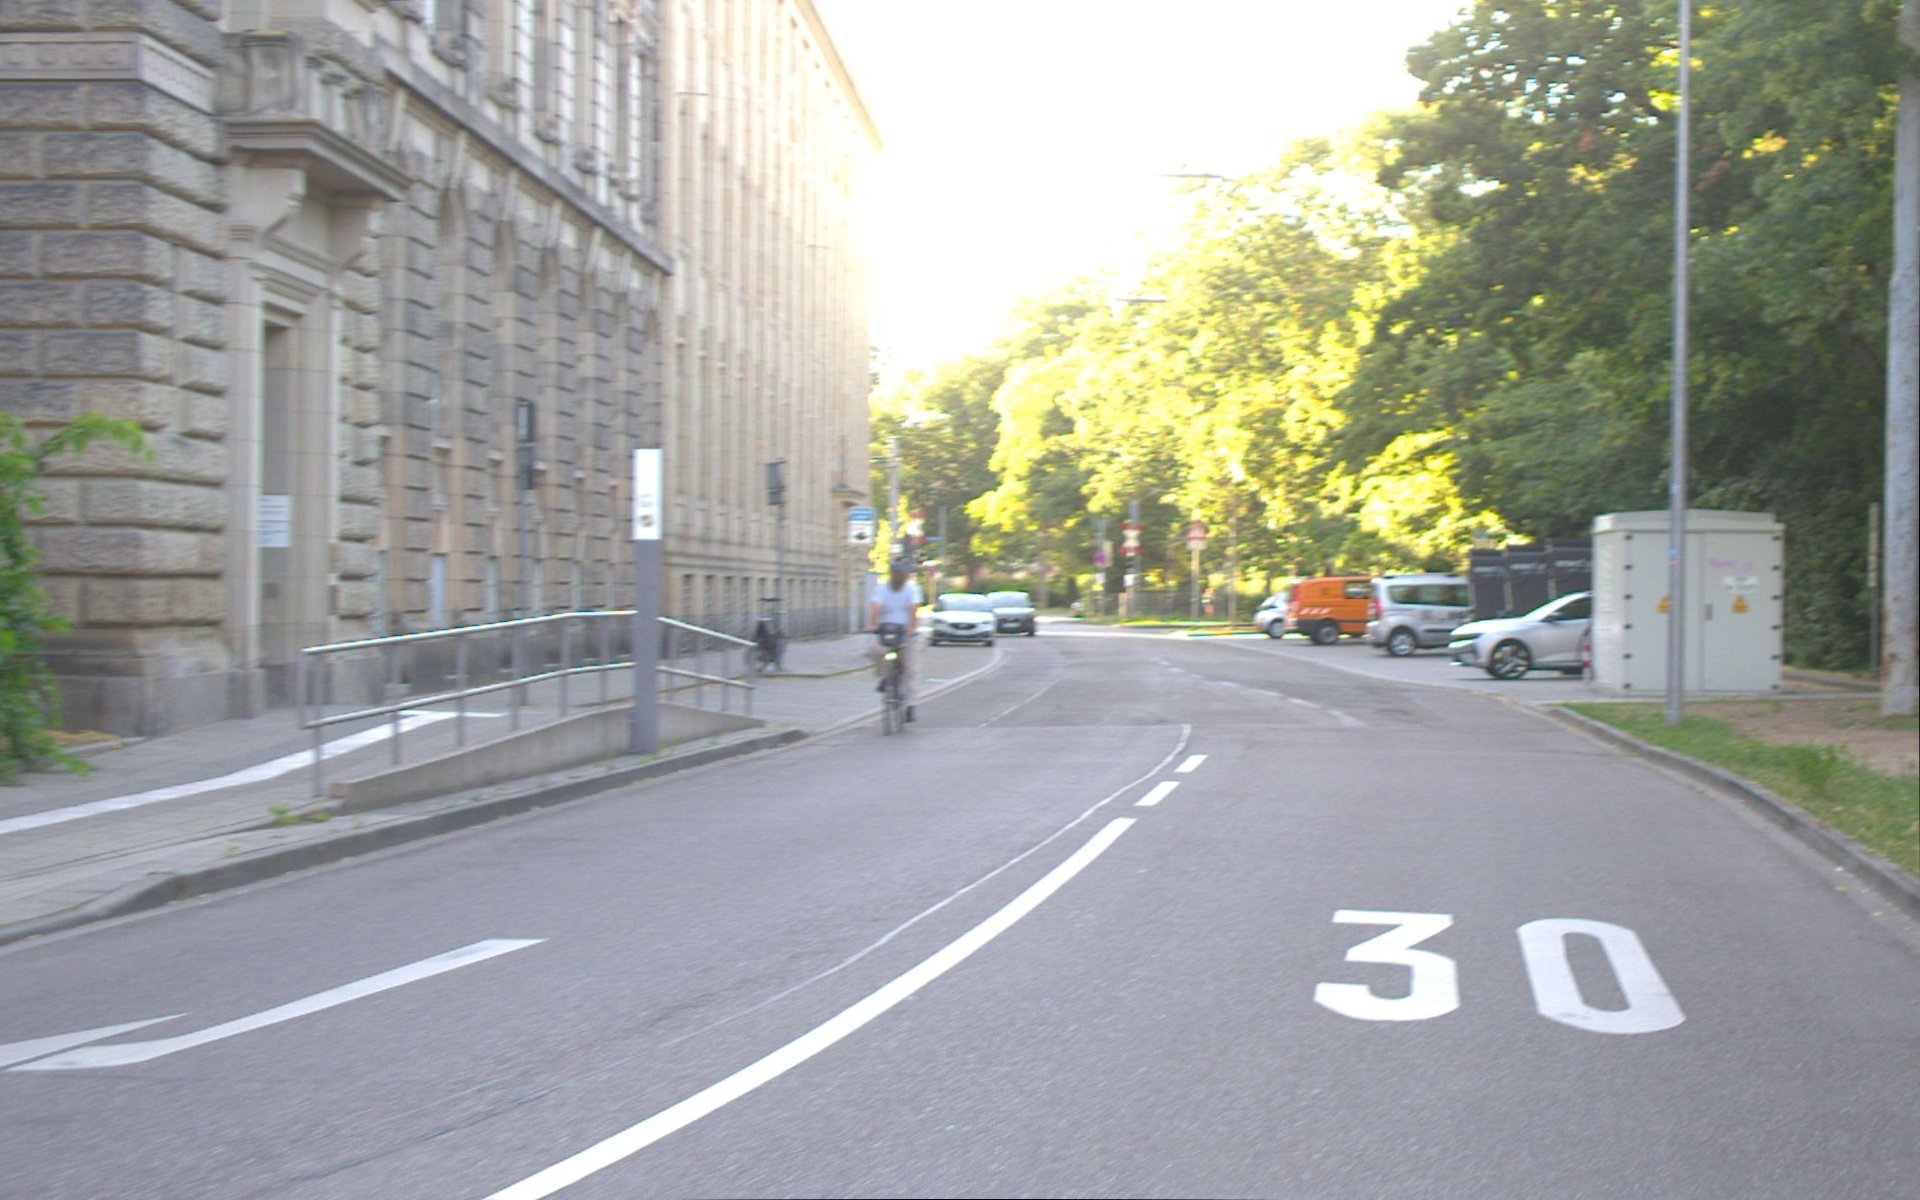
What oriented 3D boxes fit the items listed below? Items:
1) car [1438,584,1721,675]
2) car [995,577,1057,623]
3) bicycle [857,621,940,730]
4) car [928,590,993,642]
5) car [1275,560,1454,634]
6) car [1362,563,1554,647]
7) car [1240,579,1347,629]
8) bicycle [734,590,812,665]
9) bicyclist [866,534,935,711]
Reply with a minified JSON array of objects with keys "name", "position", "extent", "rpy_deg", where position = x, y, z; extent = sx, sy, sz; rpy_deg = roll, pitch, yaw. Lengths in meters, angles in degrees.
[{"name":"car","position":[10.349,0.479,57.684],"extent":[4.441,1.464,1.782],"rpy_deg":[-1,0,2]},{"name":"car","position":[2.161,-0.020,113.662],"extent":[1.878,1.461,4.373],"rpy_deg":[1,1,-1]},{"name":"bicycle","position":[-0.619,0.763,35.489],"extent":[0.662,1.066,2.153],"rpy_deg":[0,0,4]},{"name":"car","position":[-0.006,0.432,96.289],"extent":[1.727,1.392,4.373],"rpy_deg":[1,0,-1]},{"name":"car","position":[11.661,-0.103,99.207],"extent":[4.817,2.007,1.802],"rpy_deg":[-1,0,-4]},{"name":"car","position":[11.532,0.116,79.861],"extent":[4.229,1.853,2.000],"rpy_deg":[-1,0,3]},{"name":"car","position":[10.610,0.125,109.426],"extent":[3.143,1.498,1.541],"rpy_deg":[-1,0,-4]},{"name":"bicycle","position":[-2.877,0.413,53.146],"extent":[0.852,1.098,1.981],"rpy_deg":[2,0,6]},{"name":"bicyclist","position":[-0.614,0.227,35.545],"extent":[0.645,1.801,0.780],"rpy_deg":[0,0,4]}]
